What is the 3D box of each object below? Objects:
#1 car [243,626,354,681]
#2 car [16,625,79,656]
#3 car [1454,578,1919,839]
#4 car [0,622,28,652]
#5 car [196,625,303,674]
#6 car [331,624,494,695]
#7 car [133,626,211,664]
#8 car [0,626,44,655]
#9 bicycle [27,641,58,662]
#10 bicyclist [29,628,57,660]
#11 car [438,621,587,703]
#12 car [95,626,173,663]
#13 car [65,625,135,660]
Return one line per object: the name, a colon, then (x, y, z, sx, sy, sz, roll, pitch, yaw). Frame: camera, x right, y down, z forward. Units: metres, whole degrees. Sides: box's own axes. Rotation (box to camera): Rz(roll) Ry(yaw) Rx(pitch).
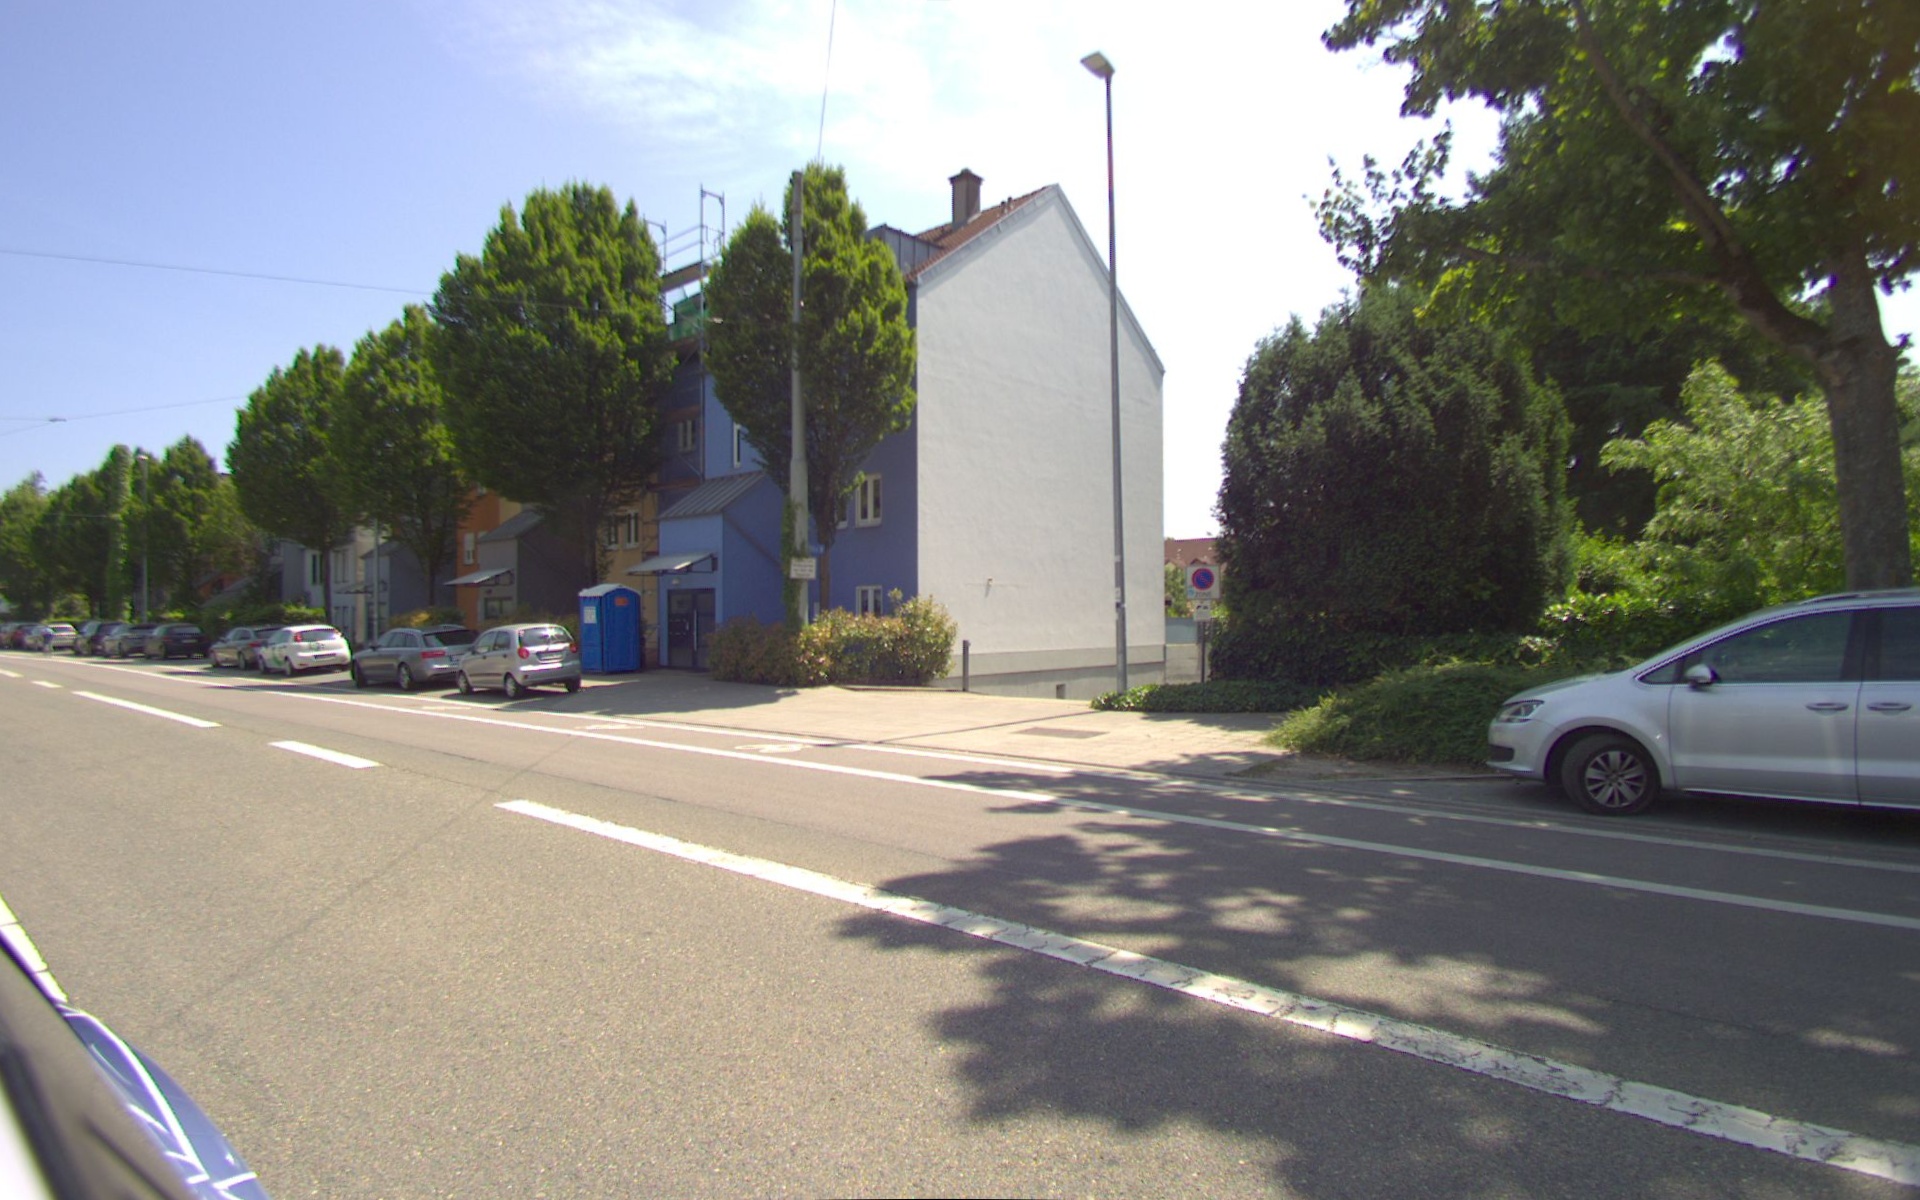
car: (-21.014, 1.657, 32.088, 4.417, 1.453, 1.729, -2, 3, 41)
car: (-51.152, 2.273, 56.704, 4.490, 1.594, 1.823, -2, 0, 38)
car: (6.483, 0.704, 7.448, 4.778, 1.677, 1.853, -2, -1, 41)
car: (-60.169, 2.334, 63.218, 4.548, 1.807, 1.976, -1, -1, 35)
car: (-25.060, 1.715, 35.630, 4.744, 1.440, 1.688, -2, 3, 38)
car: (-13.796, 1.454, 25.361, 5.129, 1.461, 1.769, -2, 2, 40)
car: (-33.457, 1.891, 42.924, 4.254, 1.443, 1.732, -1, 1, 40)
car: (-56.008, 2.410, 60.073, 3.673, 1.606, 1.586, -2, 0, 35)
bicycle: (-42.960, 2.402, 47.385, 2.240, 0.958, 0.695, -2, -4, 39)
bicyclist: (-42.882, 2.051, 47.314, 1.123, 1.442, 0.728, -1, -5, 38)
car: (-9.764, 1.286, 21.993, 3.447, 1.506, 1.577, -2, 3, 41)
car: (-37.679, 1.996, 46.114, 4.752, 1.507, 1.807, -2, 0, 39)
car: (-42.259, 2.079, 49.704, 4.142, 1.601, 1.750, -2, 0, 38)
